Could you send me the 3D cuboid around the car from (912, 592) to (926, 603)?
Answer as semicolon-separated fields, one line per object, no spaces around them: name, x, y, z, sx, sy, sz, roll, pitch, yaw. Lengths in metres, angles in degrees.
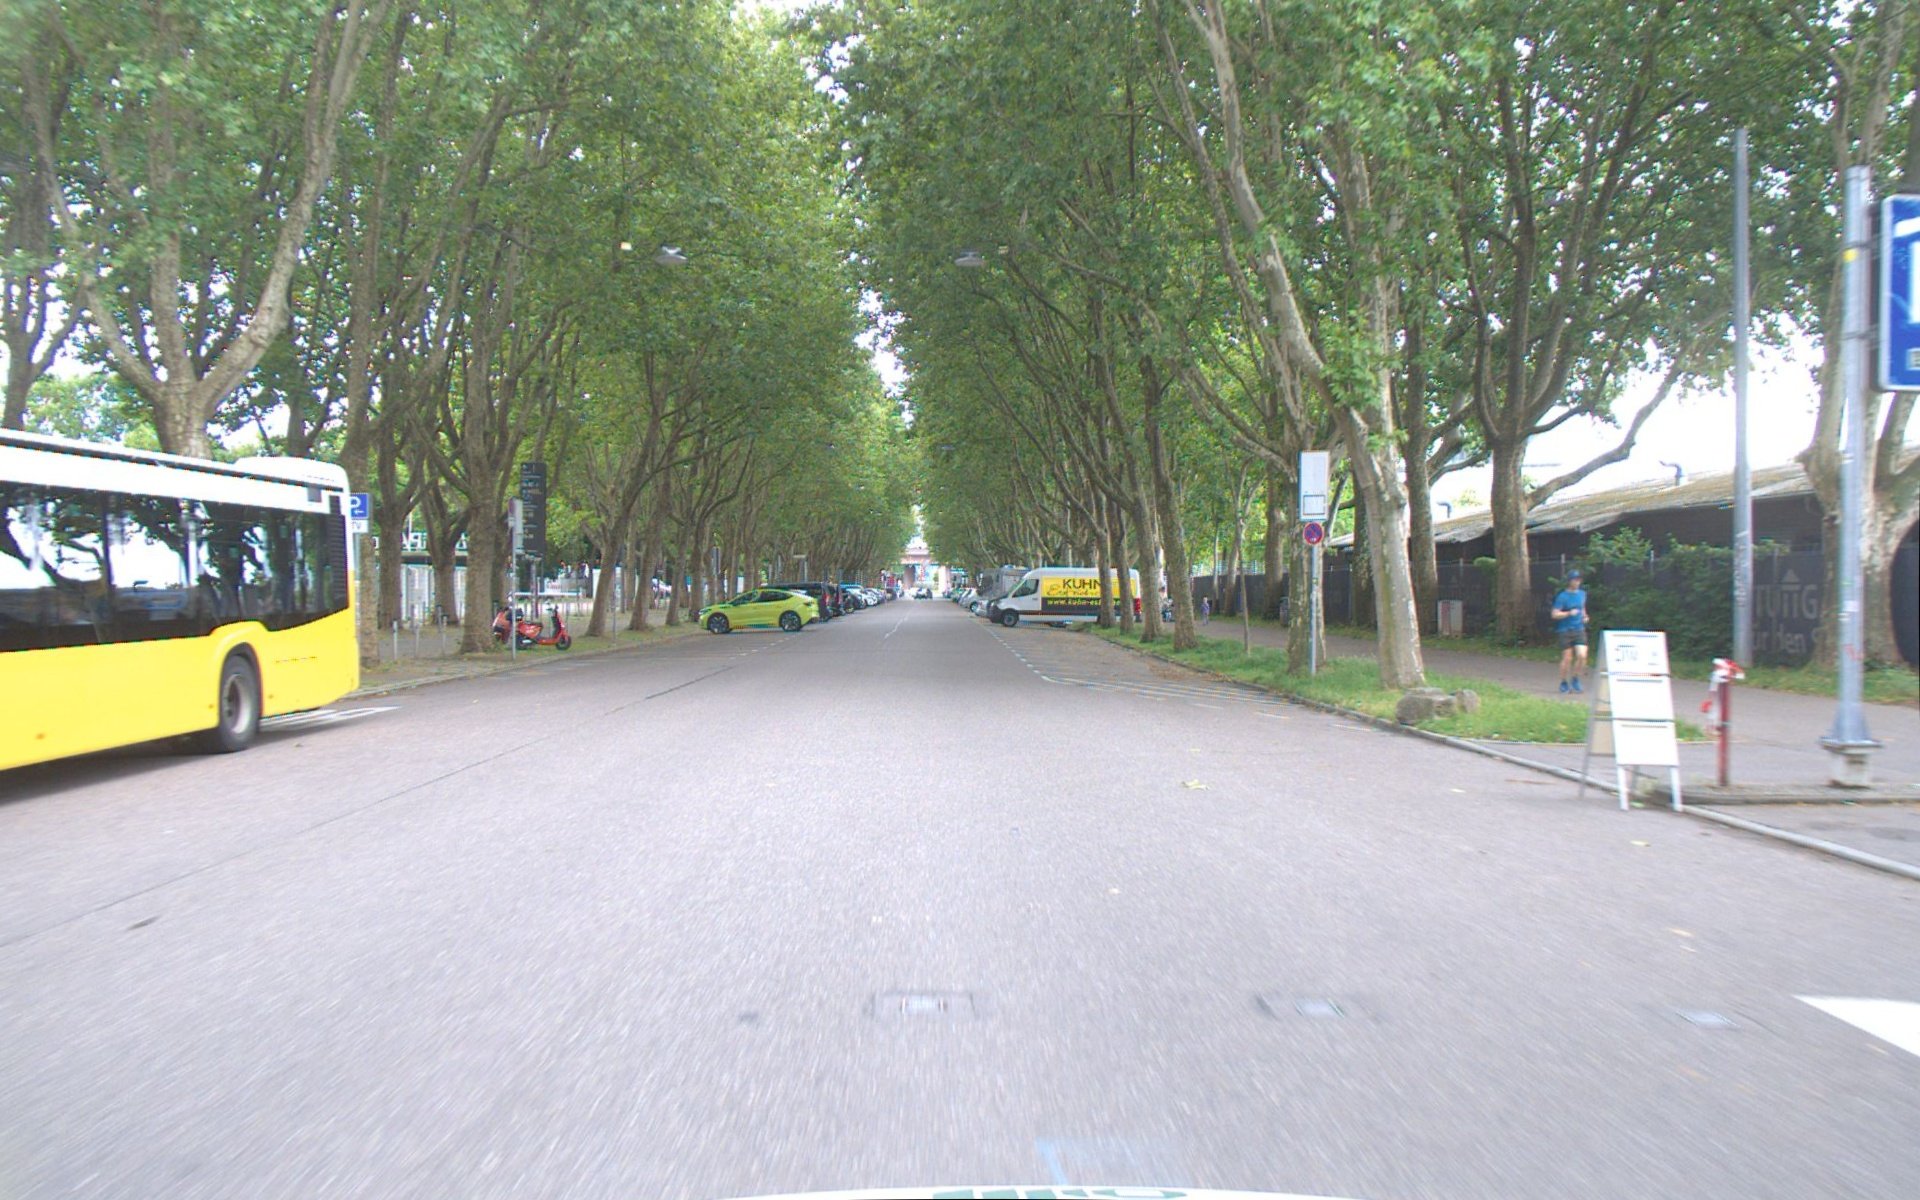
car;-5.569;-0.356;224.002;1.622;1.388;4.108;-3;0;-5

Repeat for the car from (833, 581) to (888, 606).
car;-8.982;-0.583;149.233;4.795;2.054;1.919;-2;0;-2

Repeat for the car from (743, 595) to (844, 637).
car;-8.278;0.776;82.570;4.805;1.958;2.208;-1;0;-1

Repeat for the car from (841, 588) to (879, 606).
car;-10.074;-0.293;165.921;3.751;1.656;1.951;-2;0;-4

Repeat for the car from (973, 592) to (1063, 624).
car;2.831;0.386;80.464;4.268;1.471;1.613;1;0;2

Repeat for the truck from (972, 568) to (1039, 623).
truck;2.510;-0.263;94.236;2.413;2.989;7.521;1;0;-9

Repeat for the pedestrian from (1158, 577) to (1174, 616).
pedestrian;9.516;-0.160;76.403;0.626;1.771;0.621;-2;0;2

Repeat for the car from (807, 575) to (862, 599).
car;-10.167;-1.059;134.146;4.254;1.697;1.999;-3;0;-3

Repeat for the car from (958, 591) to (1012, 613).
car;1.935;0.152;126.735;4.035;1.454;1.703;3;-1;1

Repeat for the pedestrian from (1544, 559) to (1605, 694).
pedestrian;9.563;0.406;25.777;0.694;2.049;0.882;1;0;8

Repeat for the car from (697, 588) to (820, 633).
car;-7.610;0.392;62.845;4.423;1.646;1.758;0;0;1

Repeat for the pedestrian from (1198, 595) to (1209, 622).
pedestrian;10.209;0.350;69.245;0.387;1.103;0.419;-2;0;2

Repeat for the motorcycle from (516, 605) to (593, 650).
motorcycle;-10.944;0.743;44.694;0.565;1.178;2.065;1;0;41

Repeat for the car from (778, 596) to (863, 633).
car;-9.058;0.955;107.729;5.327;2.165;1.939;-2;1;-3

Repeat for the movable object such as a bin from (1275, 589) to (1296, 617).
movable object such as a bin;12.056;0.117;61.226;0.557;0.975;0.674;-5;0;-2

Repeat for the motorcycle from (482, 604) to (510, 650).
motorcycle;-12.623;0.721;44.954;0.565;1.178;2.064;1;0;-20

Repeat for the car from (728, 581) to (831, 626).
car;-8.457;0.155;77.720;4.670;1.958;2.015;-1;0;-6

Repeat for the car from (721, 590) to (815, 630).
car;-8.427;0.435;72.876;4.026;1.596;1.756;-2;0;-6

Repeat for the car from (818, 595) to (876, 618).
car;-8.587;0.491;126.247;4.292;1.625;1.999;-2;0;-3

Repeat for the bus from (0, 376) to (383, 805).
bus;-8.464;-0.024;13.999;2.597;3.209;12.369;-3;0;0

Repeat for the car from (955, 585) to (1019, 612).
car;1.852;-0.084;111.801;4.250;1.646;1.804;2;0;2

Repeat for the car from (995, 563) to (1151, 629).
car;4.940;-0.172;72.970;6.739;2.742;2.127;1;0;0
